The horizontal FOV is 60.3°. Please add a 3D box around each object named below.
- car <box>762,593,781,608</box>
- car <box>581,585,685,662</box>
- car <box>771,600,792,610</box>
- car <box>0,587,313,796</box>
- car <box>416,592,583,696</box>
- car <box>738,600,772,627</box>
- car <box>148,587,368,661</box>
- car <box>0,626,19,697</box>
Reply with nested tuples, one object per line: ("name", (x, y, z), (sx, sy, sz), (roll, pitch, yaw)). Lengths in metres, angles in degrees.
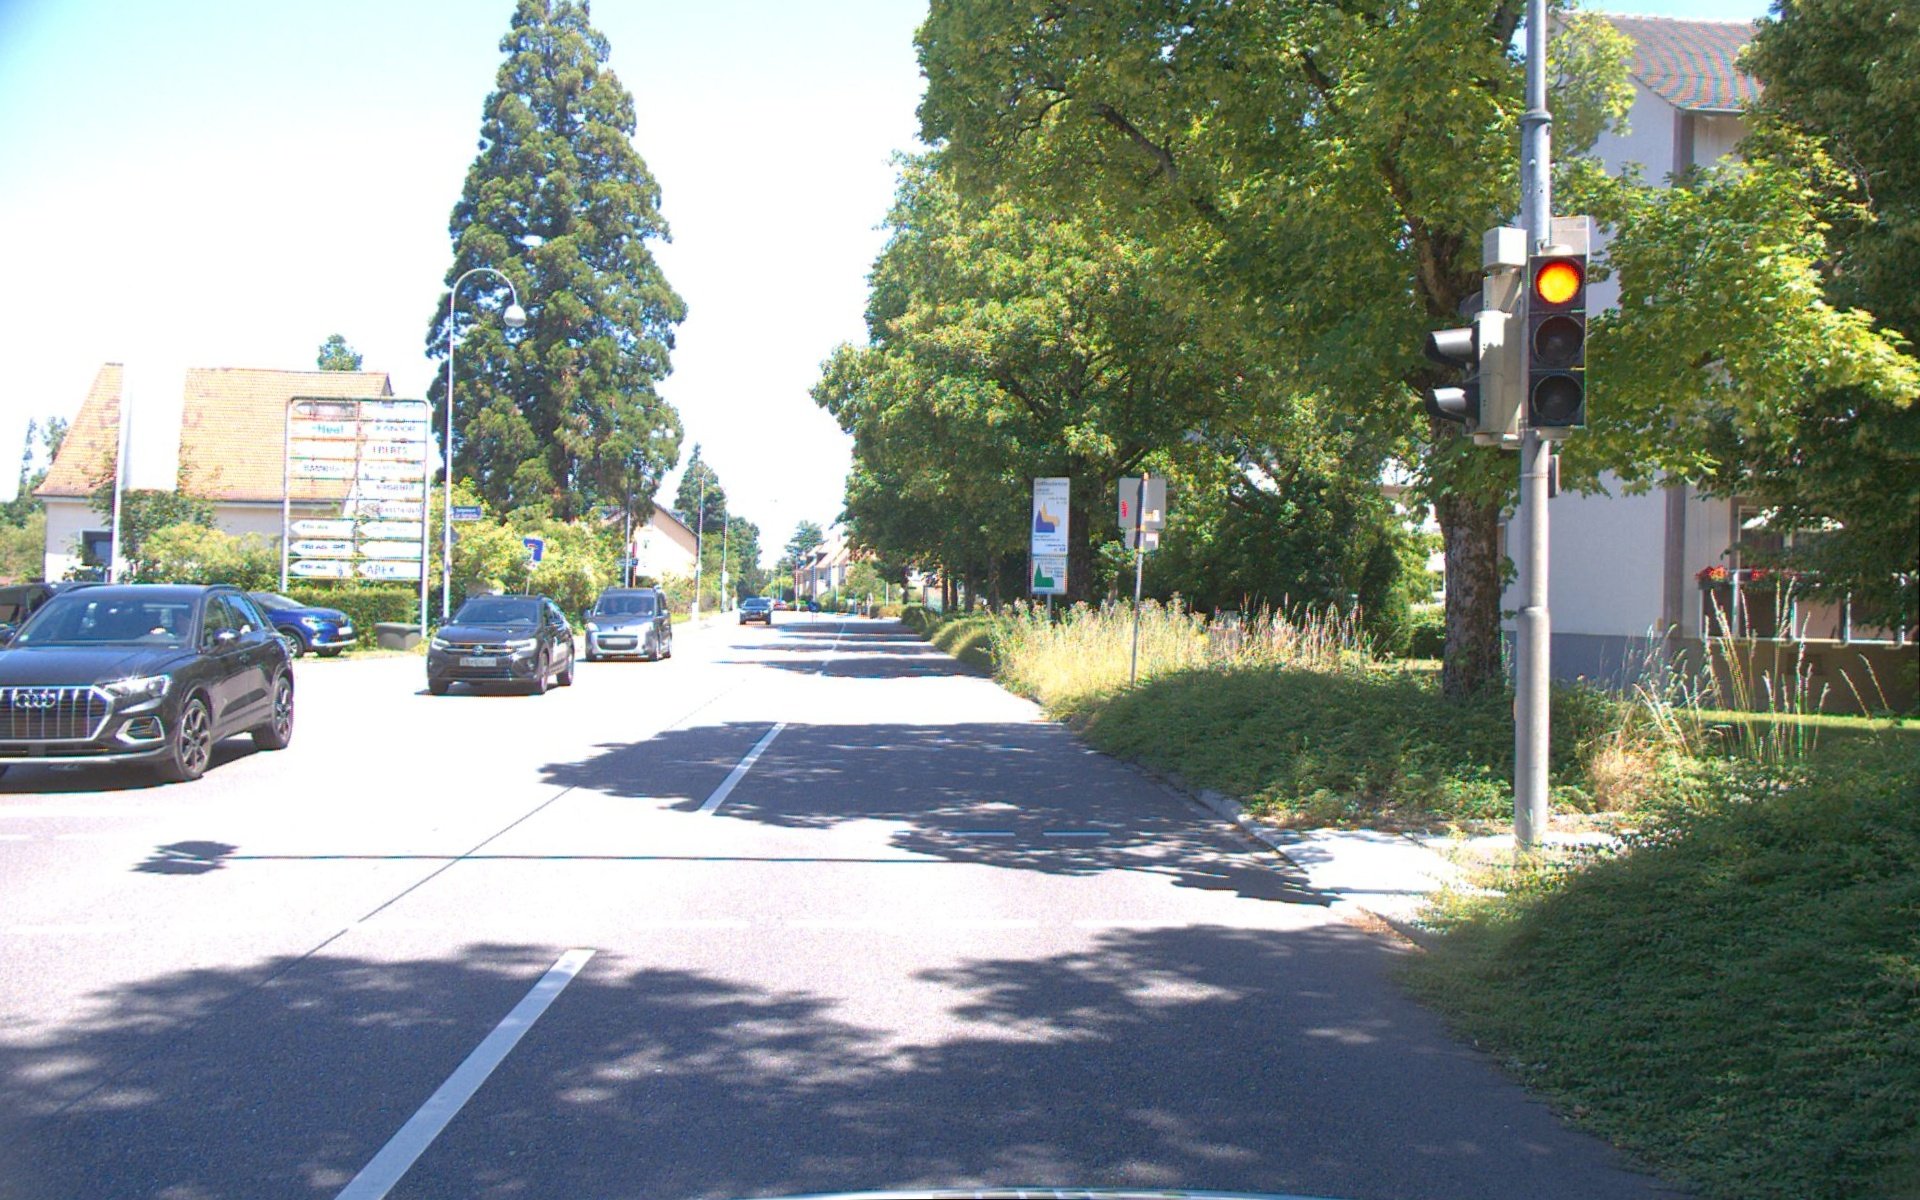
("car", (-21.613, 0.050, 189.681), (1.874, 1.719, 4.122), (1, 0, -4))
("car", (-8.066, 0.551, 41.158), (1.774, 1.793, 4.569), (1, 0, -1))
("car", (-25.129, 0.728, 232.684), (1.914, 1.383, 4.439), (0, 0, -19))
("car", (-7.281, 0.691, 14.651), (1.890, 1.582, 4.295), (0, 0, -8))
("car", (-7.263, 0.656, 26.453), (1.832, 1.533, 4.049), (0, 0, -5))
("car", (-12.544, 0.810, 101.308), (1.758, 1.563, 4.312), (1, 0, -3))
("car", (-15.201, 0.506, 35.923), (4.047, 1.531, 1.779), (0, 0, 8))
("car", (-24.636, 1.533, 40.084), (1.775, 1.752, 4.081), (1, 0, -8))
